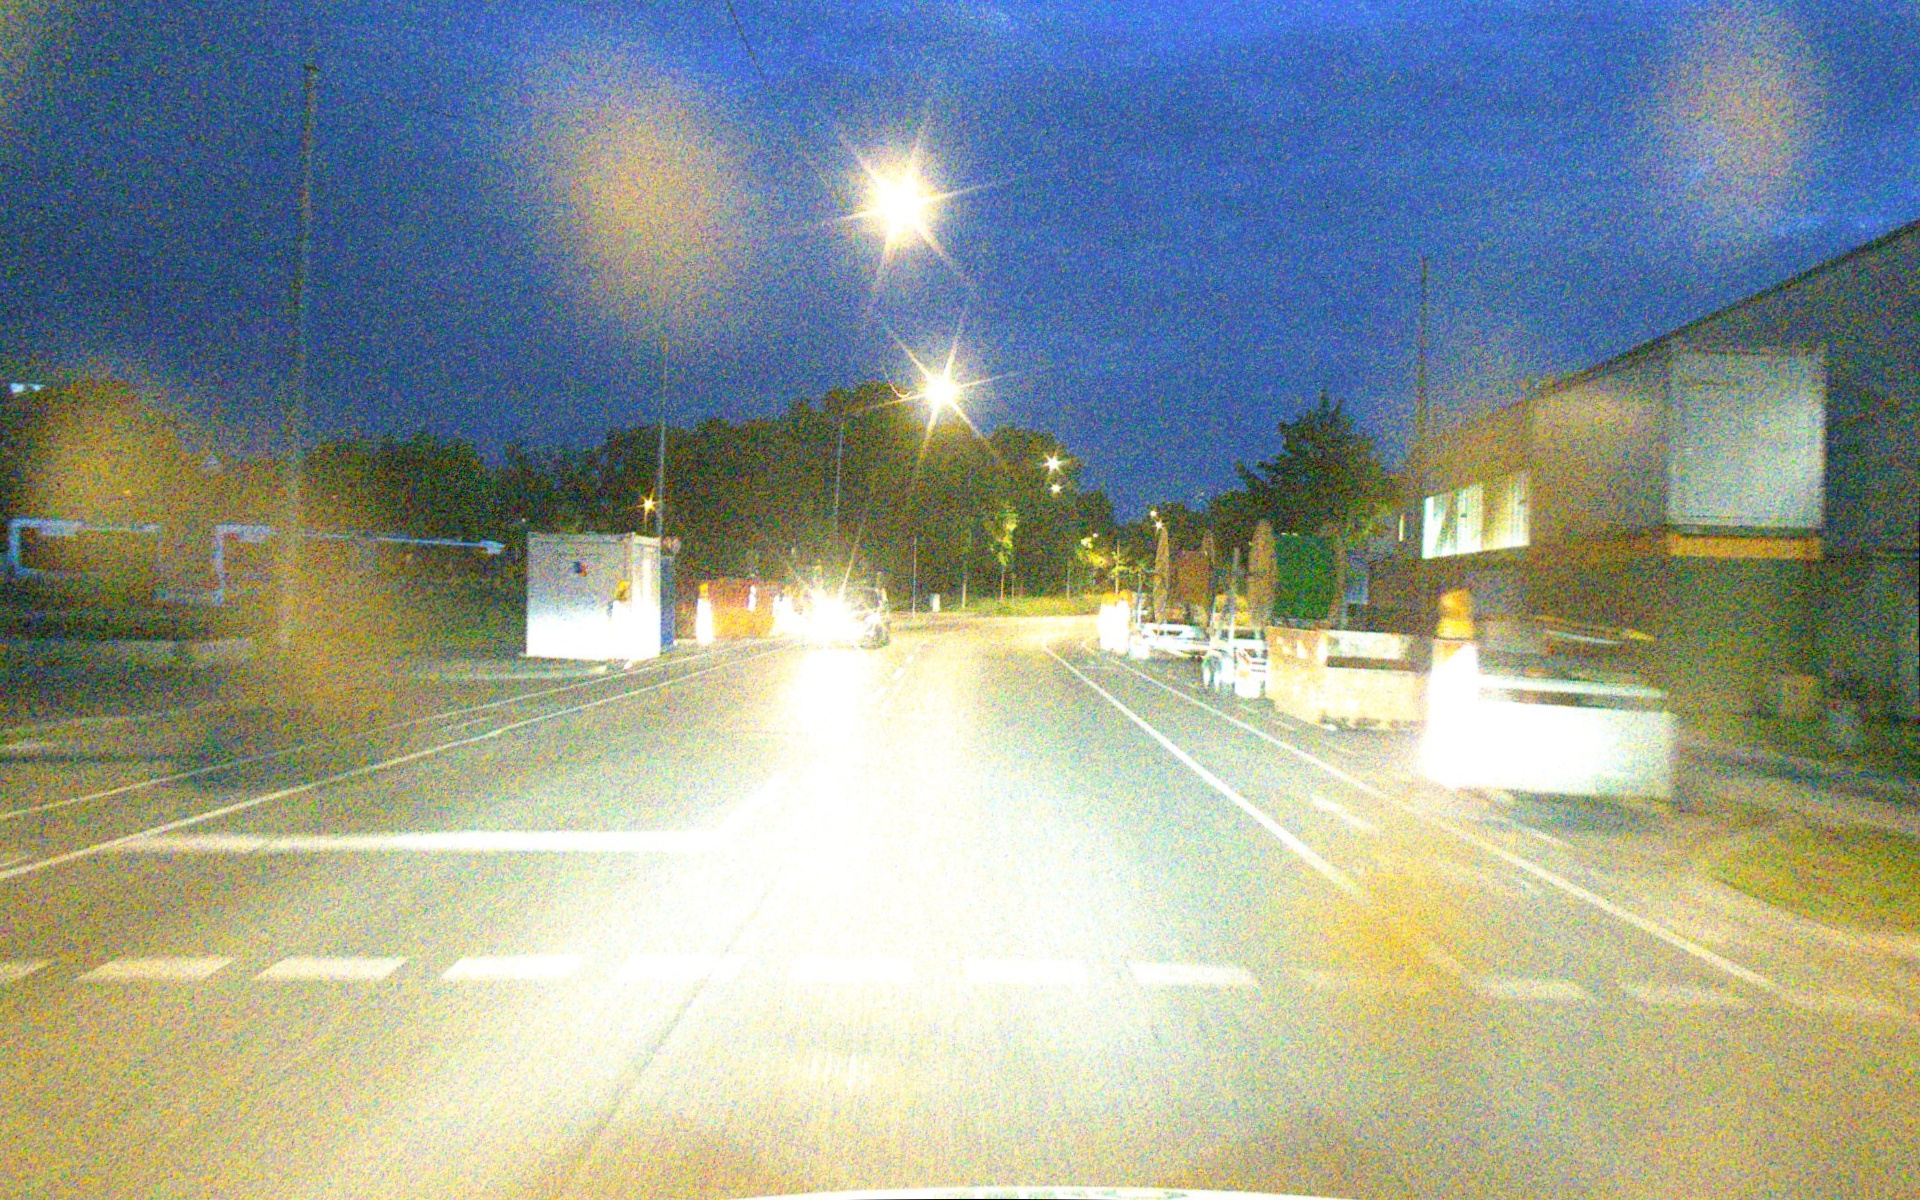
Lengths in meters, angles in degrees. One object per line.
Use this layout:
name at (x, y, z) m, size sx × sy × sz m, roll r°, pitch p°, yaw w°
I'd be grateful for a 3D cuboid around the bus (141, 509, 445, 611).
bus at (-23.871, -1.413, 60.452) m, size 2.949 × 3.260 × 12.680 m, roll 2°, pitch 1°, yaw 17°

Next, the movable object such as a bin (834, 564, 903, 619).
movable object such as a bin at (-4.171, -0.419, 75.967) m, size 1.951 × 2.418 × 4.706 m, roll 1°, pitch 1°, yaw 12°

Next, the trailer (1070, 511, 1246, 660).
trailer at (4.776, -0.349, 40.928) m, size 3.412 × 3.275 × 4.862 m, roll 3°, pitch 0°, yaw -3°

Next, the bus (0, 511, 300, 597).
bus at (-31.744, -1.700, 64.284) m, size 2.889 × 3.034 × 12.254 m, roll 2°, pitch 1°, yaw 29°

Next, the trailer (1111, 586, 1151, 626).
trailer at (6.641, 0.209, 64.412) m, size 1.217 × 1.459 × 3.728 m, roll 2°, pitch 1°, yaw 1°

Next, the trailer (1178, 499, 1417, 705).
trailer at (5.299, 0.023, 26.784) m, size 2.562 × 2.895 × 4.706 m, roll 3°, pitch 0°, yaw -3°

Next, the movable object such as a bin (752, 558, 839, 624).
movable object such as a bin at (-6.291, -0.325, 63.701) m, size 1.951 × 2.418 × 4.705 m, roll 1°, pitch -1°, yaw 12°

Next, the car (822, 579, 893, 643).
car at (-2.687, 0.253, 43.835) m, size 1.661 × 1.604 × 2.957 m, roll -1°, pitch 1°, yaw 0°
